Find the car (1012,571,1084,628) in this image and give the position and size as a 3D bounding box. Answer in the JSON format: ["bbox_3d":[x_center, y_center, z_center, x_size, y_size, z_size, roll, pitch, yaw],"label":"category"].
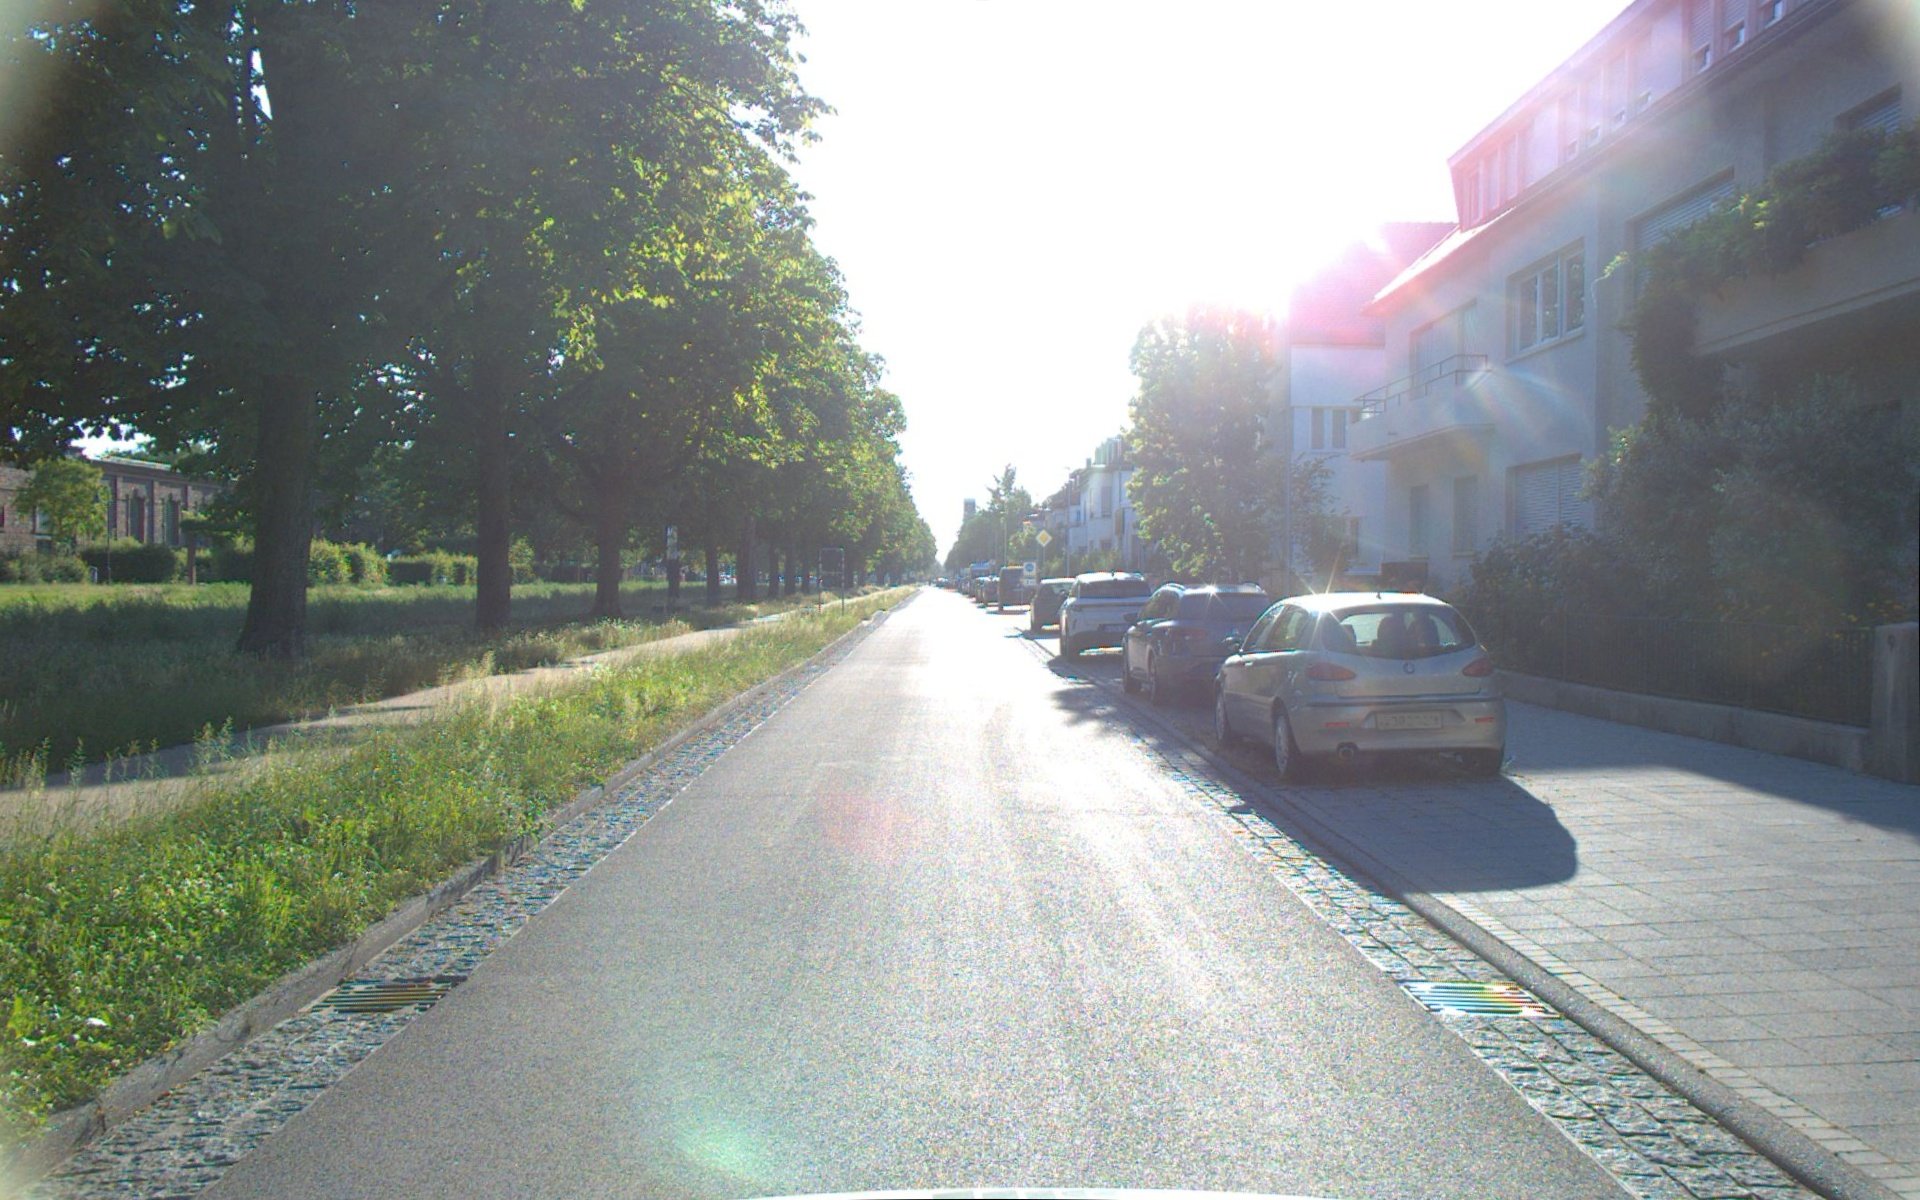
[{"bbox_3d":[2.509,-0.052,47.917,1.757,1.508,4.123,-2,1,-1],"label":"car"}]

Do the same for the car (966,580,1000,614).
[{"bbox_3d":[1.284,-0.214,94.254,1.757,1.802,4.472,-2,1,-1],"label":"car"}]

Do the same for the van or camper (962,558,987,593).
[{"bbox_3d":[1.221,-2.063,139.515,1.904,2.826,5.939,2,0,0],"label":"van or camper"}]

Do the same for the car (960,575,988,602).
[{"bbox_3d":[0.950,-0.787,112.471,1.795,1.714,4.415,2,1,-1],"label":"car"}]

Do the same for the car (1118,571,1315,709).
[{"bbox_3d":[3.117,0.415,20.908,1.757,1.520,4.193,-2,1,-1],"label":"car"}]

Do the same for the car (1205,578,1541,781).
[{"bbox_3d":[3.294,0.548,14.013,1.757,1.404,4.078,-2,1,-1],"label":"car"}]

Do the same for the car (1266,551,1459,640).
[{"bbox_3d":[9.274,-0.122,38.240,3.906,1.877,1.813,2,2,-7],"label":"car"}]

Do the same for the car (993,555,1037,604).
[{"bbox_3d":[2.558,-0.984,77.848,1.867,2.169,4.815,-2,1,0],"label":"car"}]

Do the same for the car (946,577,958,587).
[{"bbox_3d":[-1.230,-2.812,257.322,1.616,1.557,3.851,4,1,0],"label":"car"}]

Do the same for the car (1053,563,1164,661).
[{"bbox_3d":[2.849,0.168,32.579,1.866,1.738,4.577,-2,1,2],"label":"car"}]
